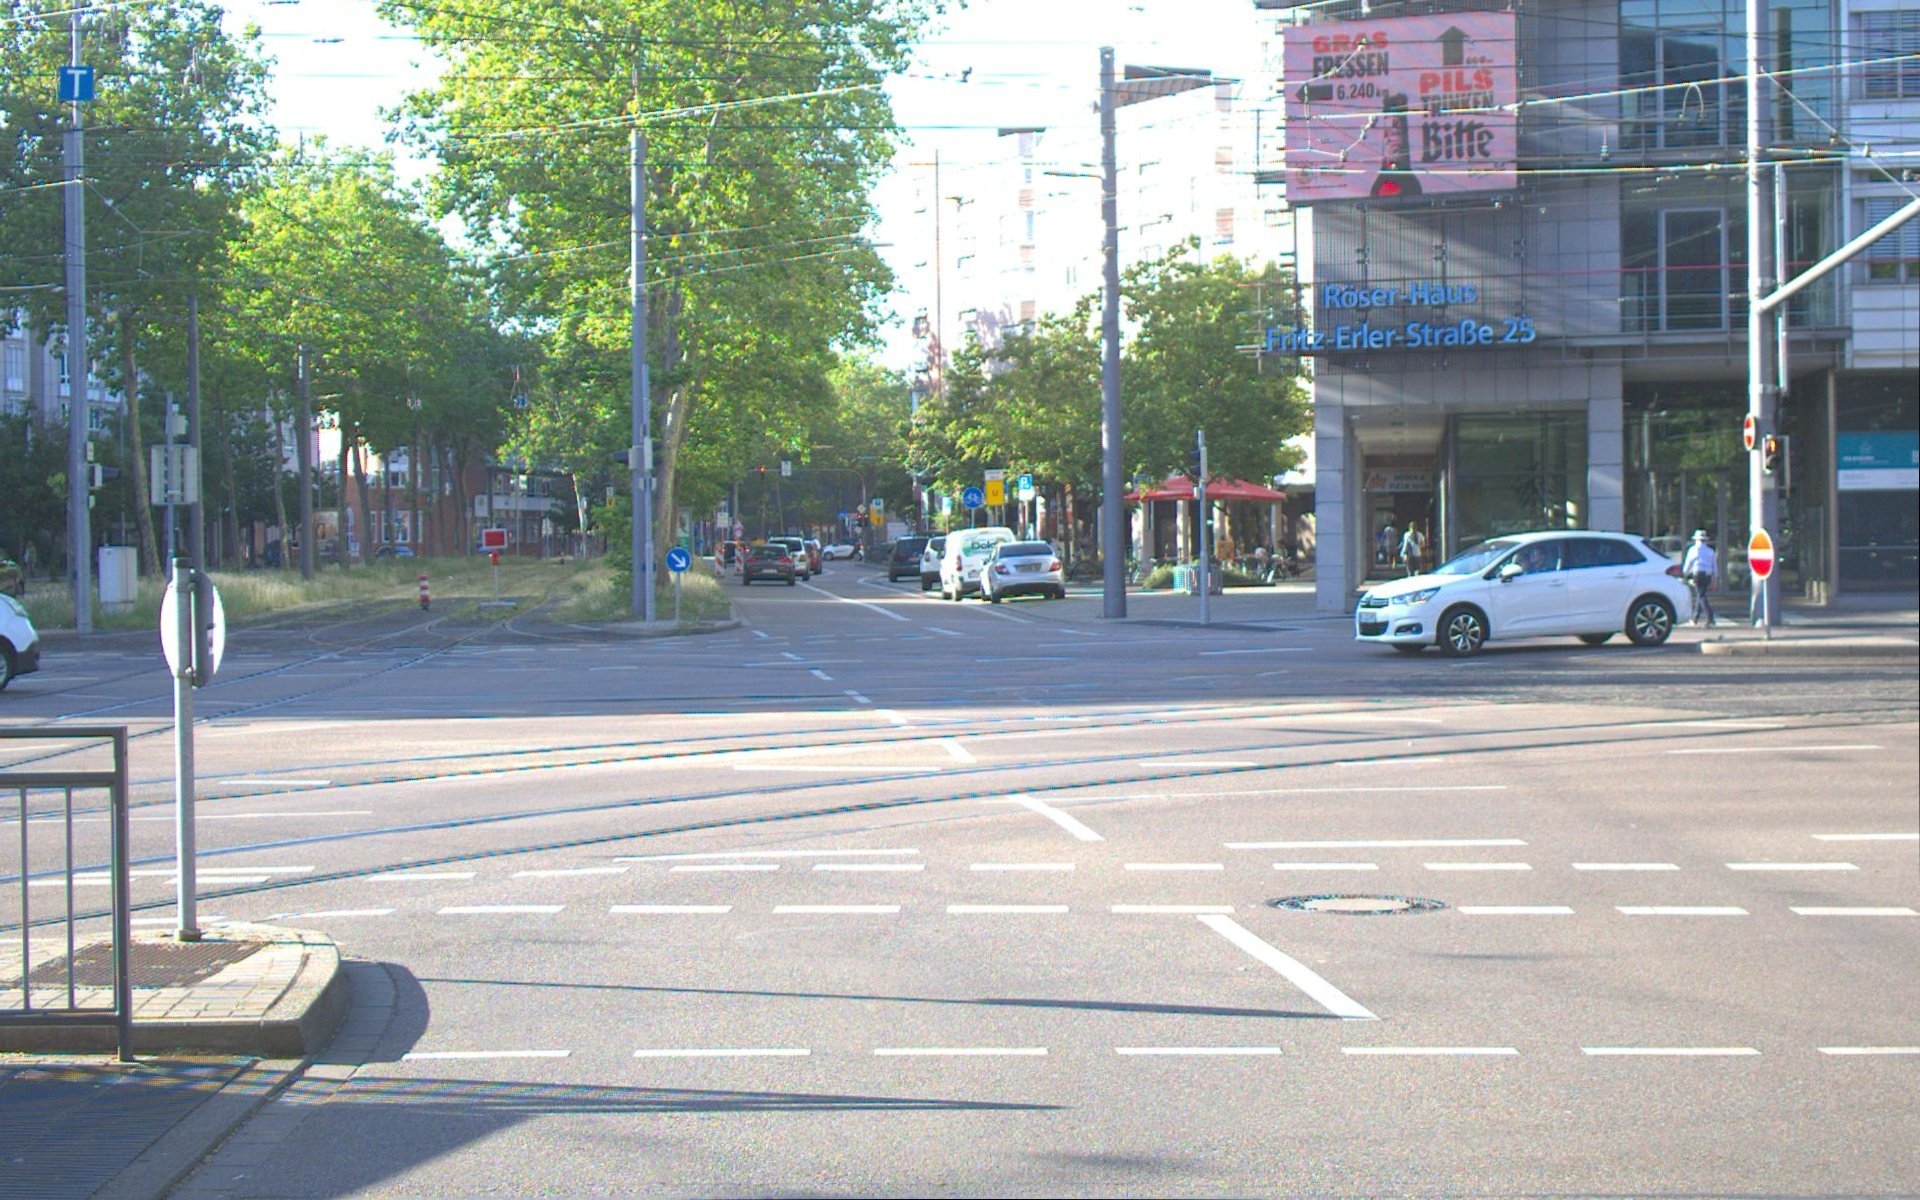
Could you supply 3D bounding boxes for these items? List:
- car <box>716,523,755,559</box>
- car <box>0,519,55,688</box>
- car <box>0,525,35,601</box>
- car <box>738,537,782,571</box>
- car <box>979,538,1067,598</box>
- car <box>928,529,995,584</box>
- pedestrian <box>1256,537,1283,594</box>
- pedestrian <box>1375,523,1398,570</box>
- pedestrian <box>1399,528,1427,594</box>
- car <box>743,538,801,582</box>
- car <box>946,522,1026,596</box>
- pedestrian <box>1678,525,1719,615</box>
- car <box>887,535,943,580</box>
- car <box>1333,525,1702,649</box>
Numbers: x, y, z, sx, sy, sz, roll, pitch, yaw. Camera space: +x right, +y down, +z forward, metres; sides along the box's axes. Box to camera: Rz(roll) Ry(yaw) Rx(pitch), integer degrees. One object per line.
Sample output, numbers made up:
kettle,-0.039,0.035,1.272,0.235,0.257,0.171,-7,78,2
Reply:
car,-12.831,-3.386,197.040,1.993,2.007,4.000,-1,1,-1
car,-12.235,0.074,37.253,1.759,1.860,4.515,0,1,38
car,-21.666,-0.800,74.907,1.993,1.634,4.000,-1,1,-1
car,-8.534,-1.962,147.061,1.797,1.437,4.000,1,1,-2
car,1.491,-0.783,82.759,1.993,1.371,4.000,-1,1,-1
car,0.035,-1.354,105.200,1.993,1.612,4.000,-1,1,0
pedestrian,9.456,-1.062,105.035,0.744,1.708,0.612,-1,1,-1
pedestrian,15.655,-1.978,126.264,0.744,1.708,0.612,-1,1,-1
pedestrian,10.419,-0.895,79.069,0.612,1.502,0.579,-1,1,7
car,-6.411,-1.374,117.662,1.797,1.437,4.000,-1,1,-1
car,0.647,-1.092,89.554,1.993,1.853,4.000,-1,1,-1
pedestrian,12.561,-0.512,58.477,0.612,1.502,0.579,-1,1,7
car,-1.644,-1.591,126.650,1.993,1.612,4.000,-1,1,0
car,7.106,-0.184,43.924,4.294,1.483,1.762,-1,1,-15
